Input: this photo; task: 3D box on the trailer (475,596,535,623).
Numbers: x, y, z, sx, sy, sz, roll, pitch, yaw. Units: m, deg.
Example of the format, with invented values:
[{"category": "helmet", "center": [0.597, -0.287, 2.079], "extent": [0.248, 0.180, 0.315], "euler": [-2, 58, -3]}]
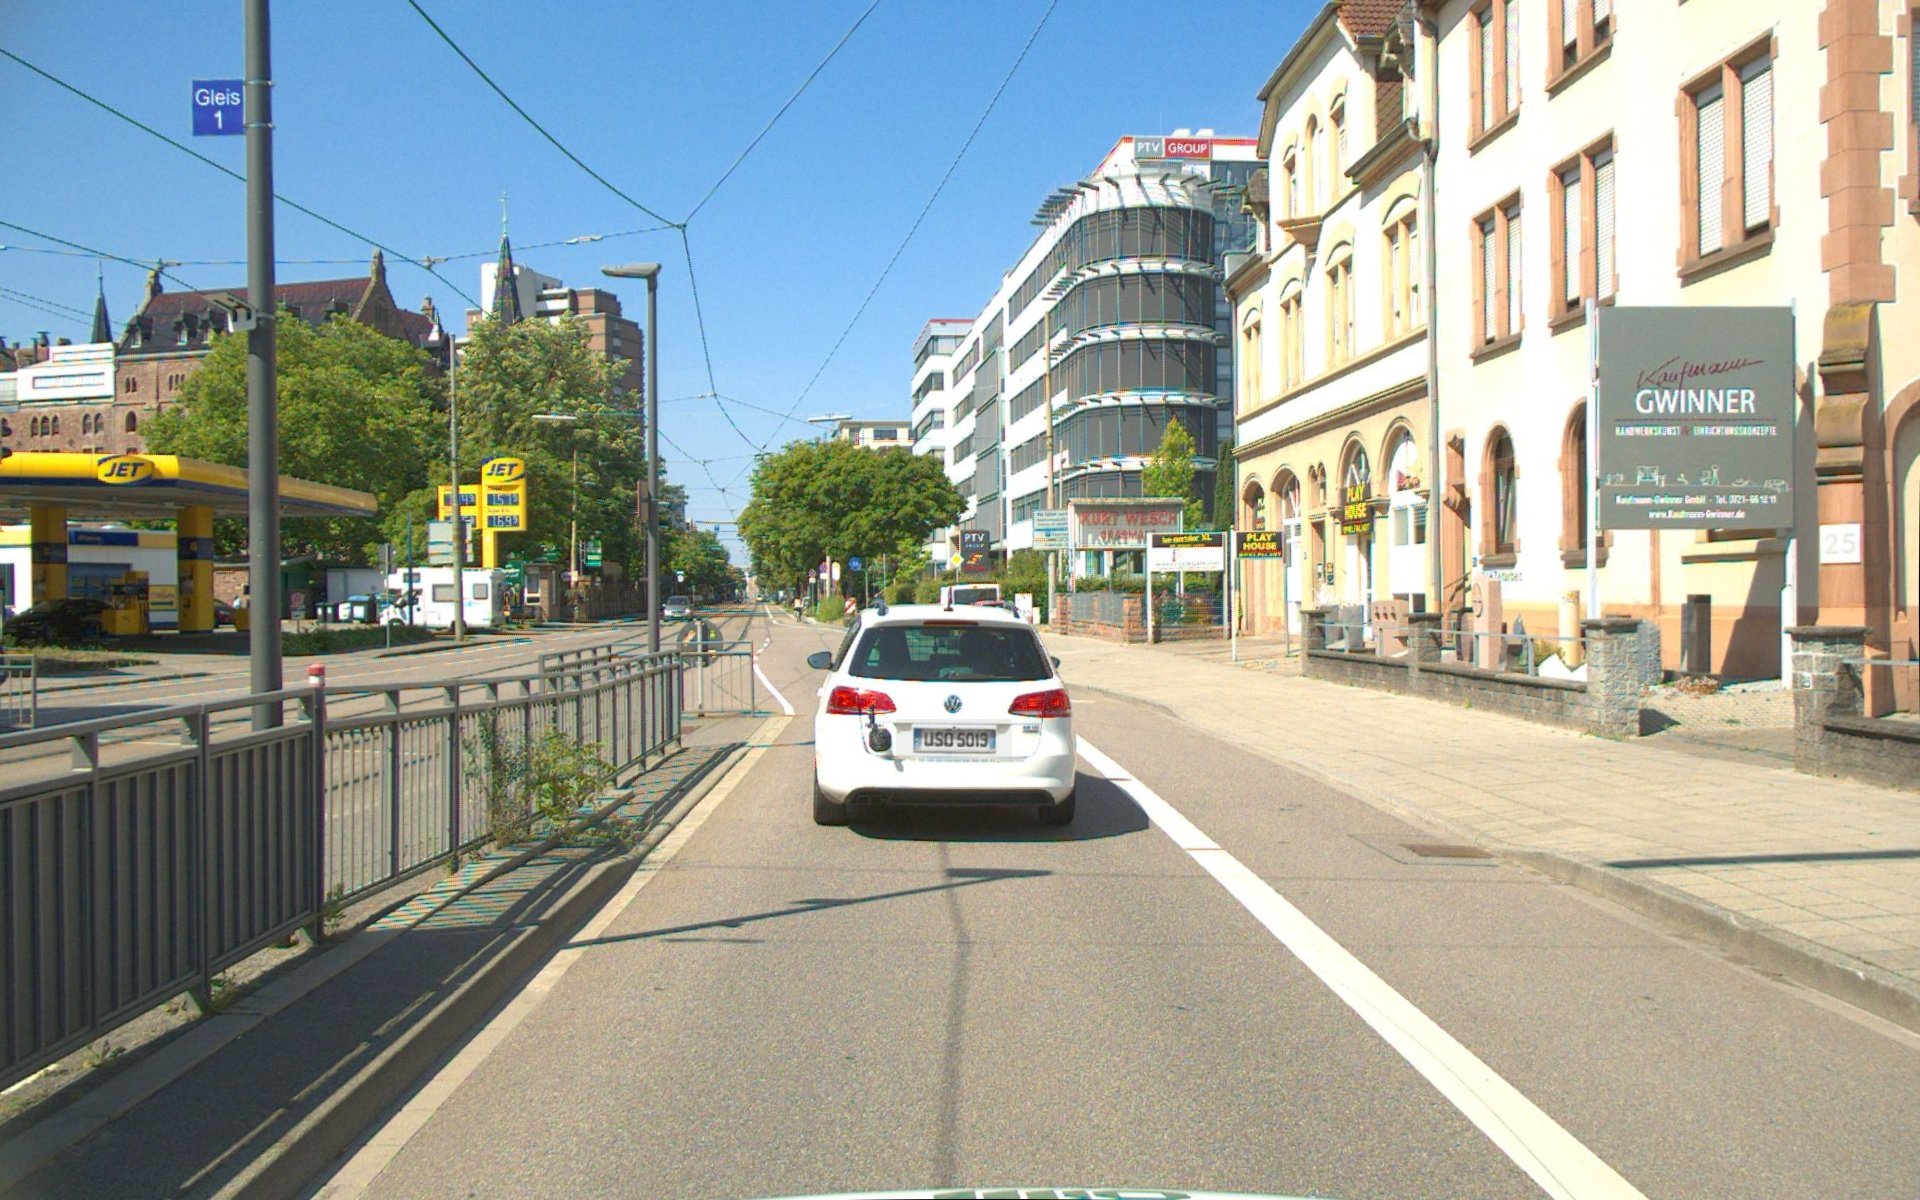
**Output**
[{"category": "trailer", "center": [-26.847, 0.556, 97.713], "extent": [3.153, 1.552, 1.775], "euler": [-1, 0, -6]}]

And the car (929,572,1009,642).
[{"category": "car", "center": [0.237, 0.216, 54.479], "extent": [1.939, 2.090, 5.184], "euler": [-3, 0, -6]}]

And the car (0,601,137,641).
[{"category": "car", "center": [-31.001, 0.698, 57.509], "extent": [1.661, 1.326, 4.392], "euler": [1, 0, 18]}]

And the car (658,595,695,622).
[{"category": "car", "center": [-17.760, 0.508, 103.700], "extent": [1.711, 1.598, 3.890], "euler": [-2, 0, -2]}]

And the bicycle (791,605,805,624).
[{"category": "bicycle", "center": [-9.923, 0.890, 101.293], "extent": [0.795, 1.097, 2.009], "euler": [0, 0, -6]}]

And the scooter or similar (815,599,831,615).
[{"category": "scooter or similar", "center": [-9.897, 0.498, 119.901], "extent": [1.119, 1.174, 0.493], "euler": [0, 0, -1]}]

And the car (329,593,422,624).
[{"category": "car", "center": [-32.199, 0.462, 91.268], "extent": [1.912, 1.611, 4.558], "euler": [-1, 0, 38]}]

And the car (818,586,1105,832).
[{"category": "car", "center": [-0.175, 0.637, 12.172], "extent": [1.719, 1.467, 4.408], "euler": [0, 0, -5]}]

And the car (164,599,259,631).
[{"category": "car", "center": [-37.067, 0.730, 81.925], "extent": [4.071, 1.554, 1.938], "euler": [0, 0, 19]}]

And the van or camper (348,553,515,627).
[{"category": "van or camper", "center": [-23.625, -0.447, 74.186], "extent": [6.555, 3.019, 2.616], "euler": [2, 0, -1]}]

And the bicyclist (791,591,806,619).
[{"category": "bicyclist", "center": [-9.914, 0.289, 101.493], "extent": [0.771, 1.657, 0.737], "euler": [3, -1, -7]}]

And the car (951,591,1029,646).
[{"category": "car", "center": [0.824, 0.517, 48.284], "extent": [1.689, 1.468, 4.306], "euler": [-3, 0, -6]}]
